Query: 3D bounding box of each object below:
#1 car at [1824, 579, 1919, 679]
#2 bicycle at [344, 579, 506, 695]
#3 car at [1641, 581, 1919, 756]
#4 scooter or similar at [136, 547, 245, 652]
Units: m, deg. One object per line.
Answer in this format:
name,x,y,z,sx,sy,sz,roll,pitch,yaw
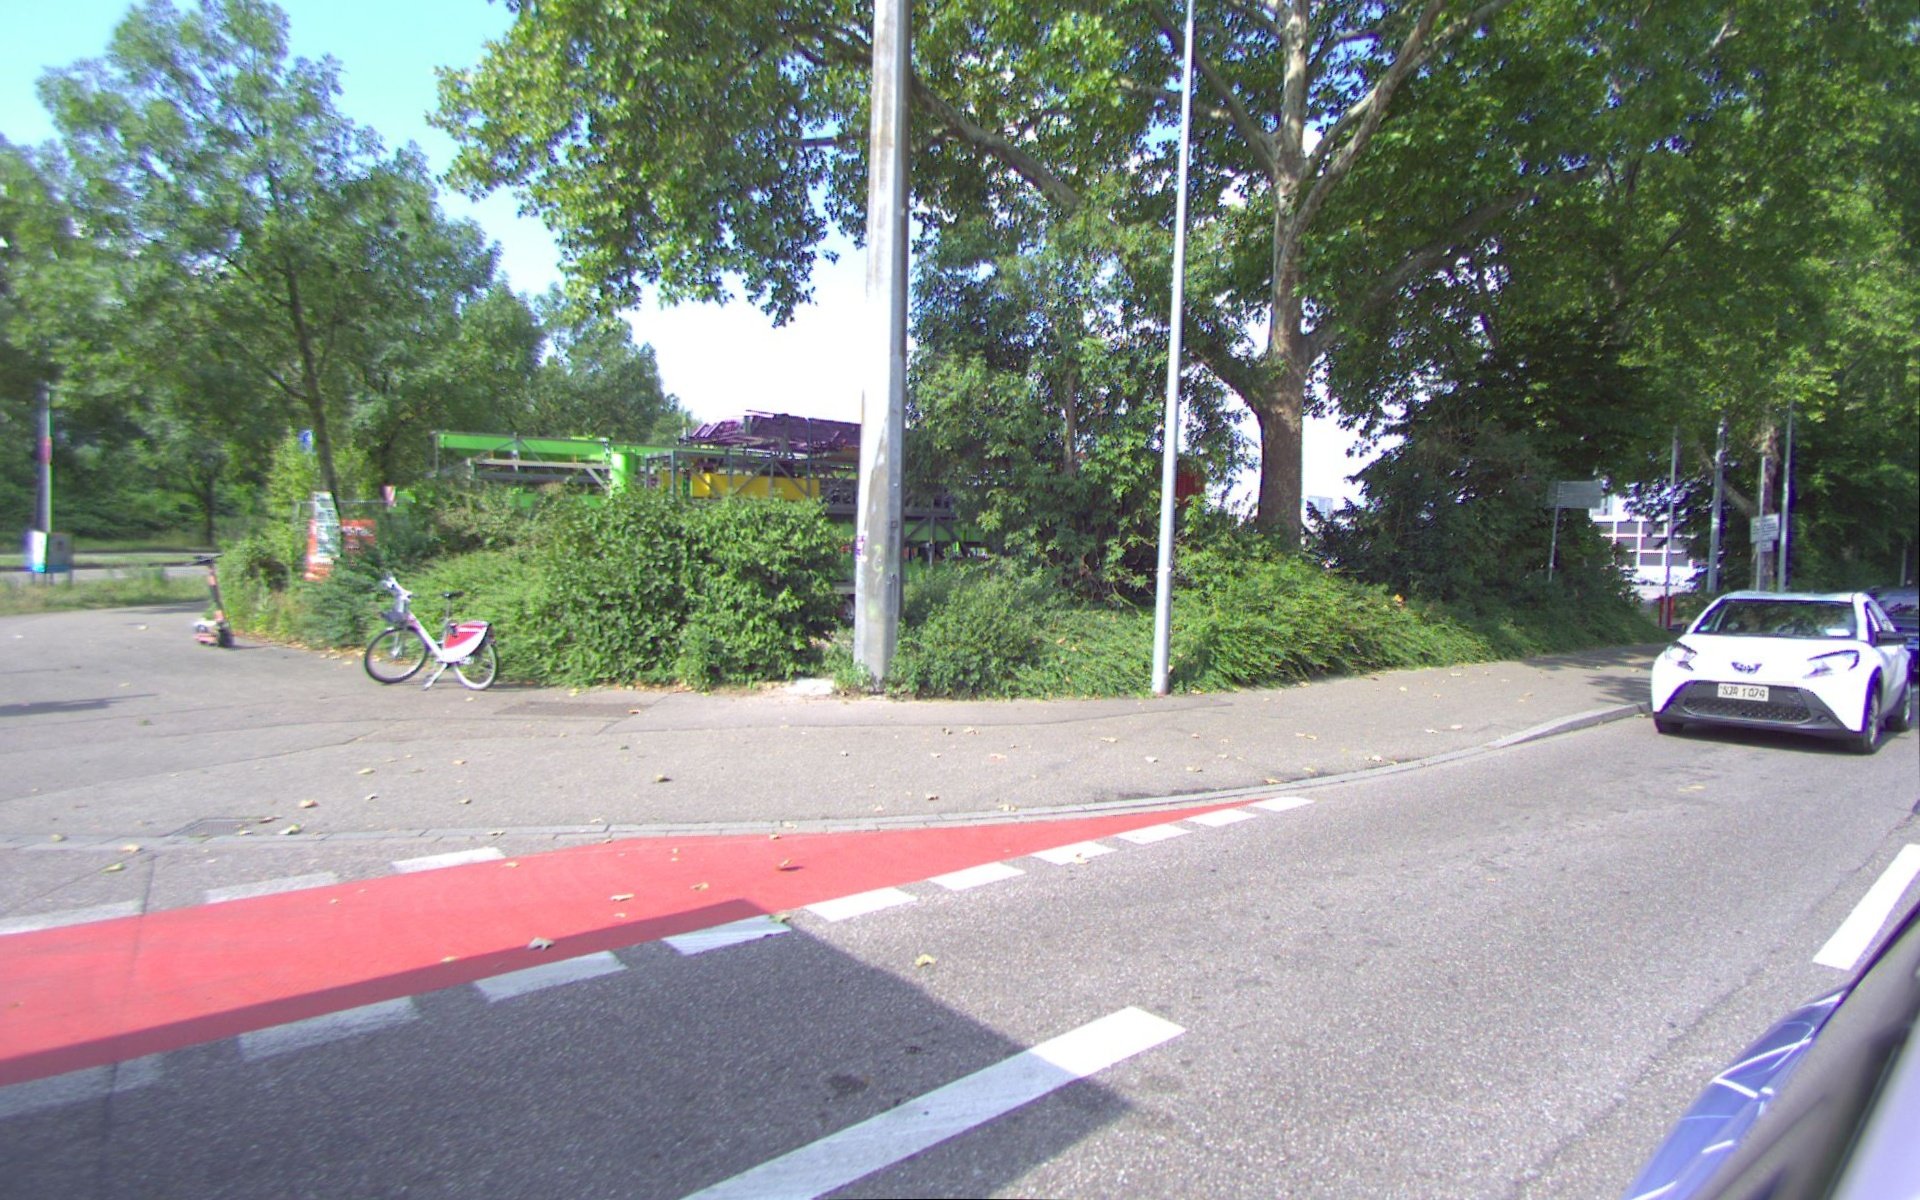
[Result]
car,16.810,0.428,17.709,4.500,1.595,1.890,-1,1,-40
bicycle,-5.360,0.341,10.126,1.618,1.055,0.524,2,2,23
car,8.759,0.556,10.622,3.732,1.497,1.748,-1,1,-40
scooter or similar,-9.578,-0.004,12.586,1.605,1.258,0.348,0,-1,24
